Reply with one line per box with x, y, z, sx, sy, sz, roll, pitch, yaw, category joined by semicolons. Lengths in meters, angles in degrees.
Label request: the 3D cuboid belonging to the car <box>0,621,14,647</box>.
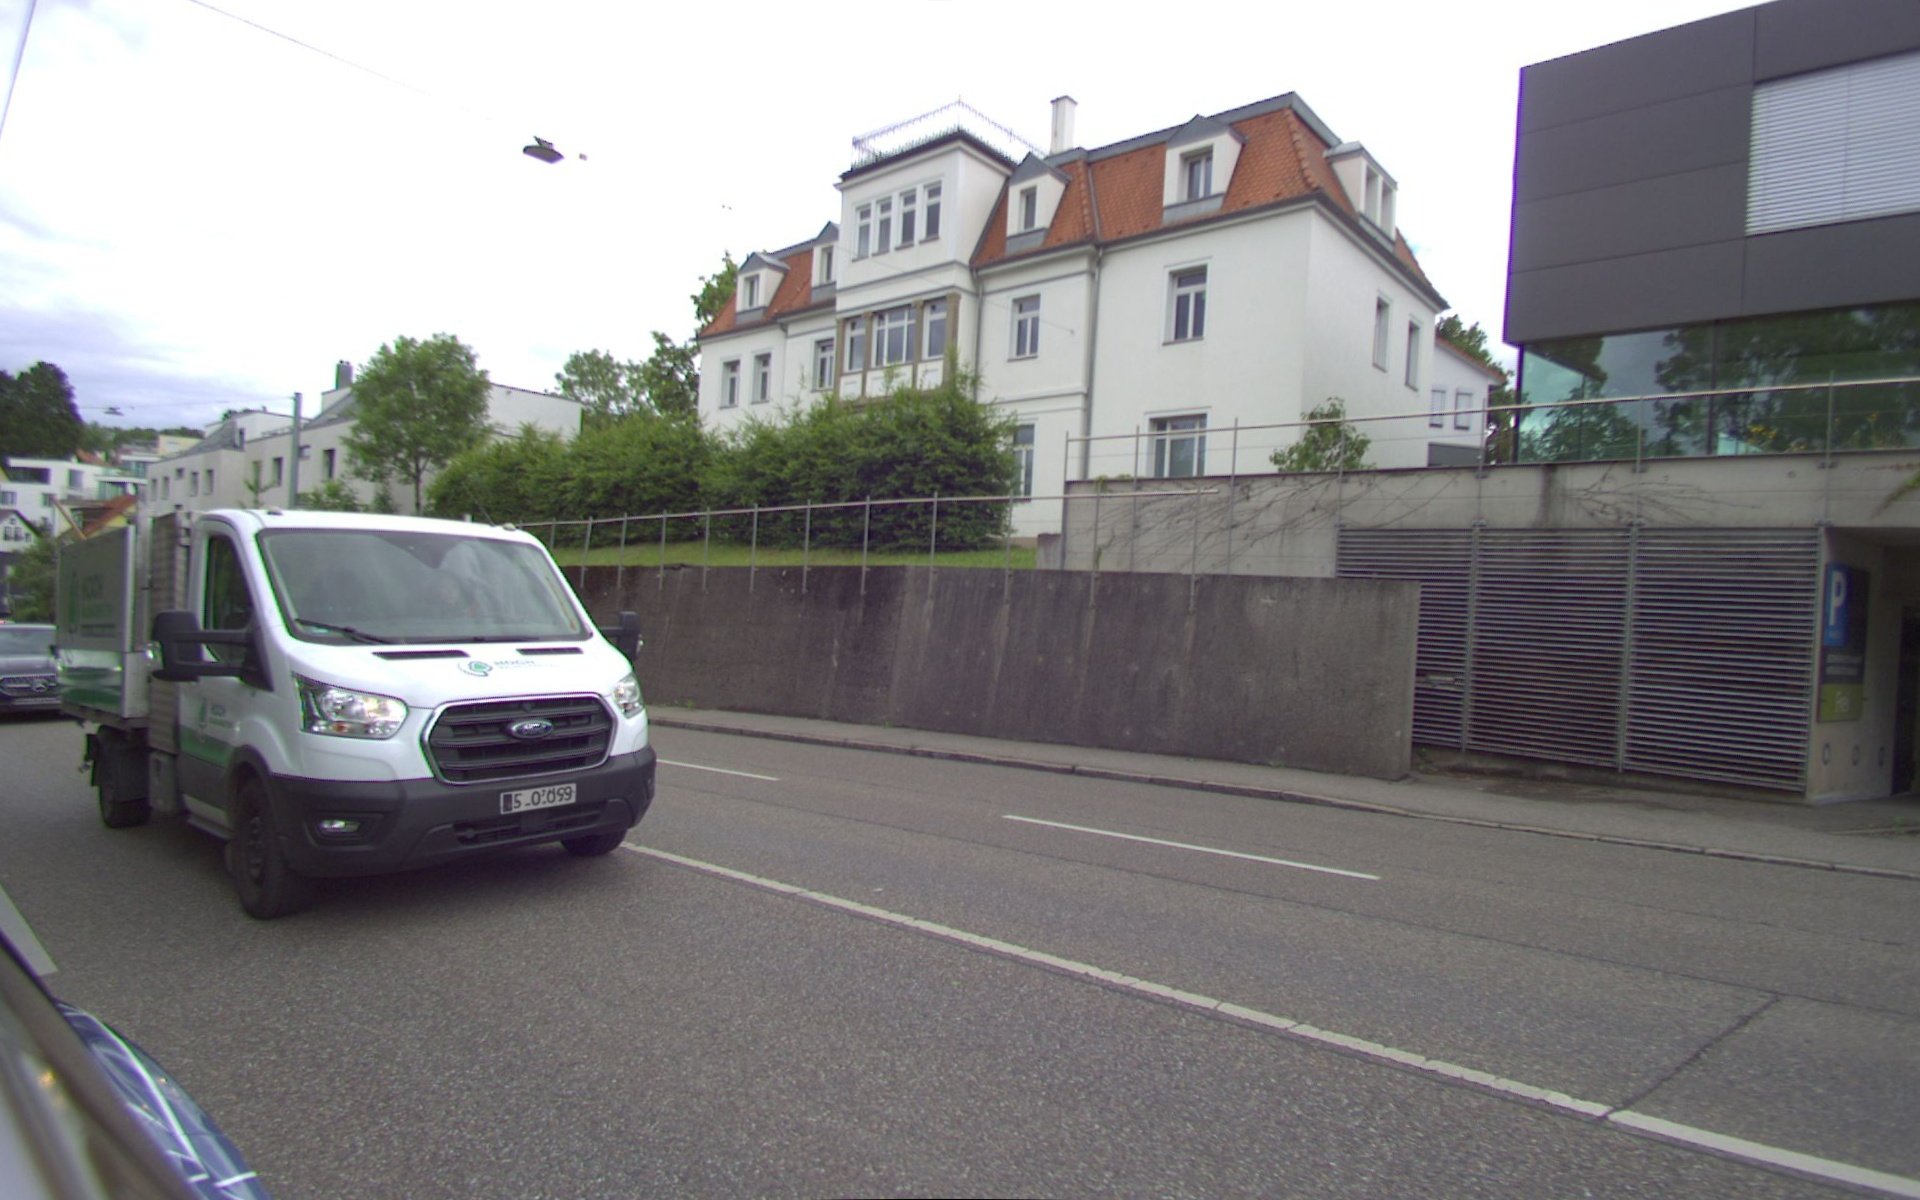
-64.978;2.244;67.995;3.866;1.725;1.687;-1;-3;41;car

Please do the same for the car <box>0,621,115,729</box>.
-15.096;1.105;16.128;4.333;1.542;1.854;-1;-2;41;car

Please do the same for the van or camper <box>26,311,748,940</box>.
-4.349;0.226;7.089;5.957;2.682;2.321;-3;-2;38;van or camper

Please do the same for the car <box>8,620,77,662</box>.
-42.867;1.892;47.260;4.206;1.856;1.812;-1;-4;41;car
